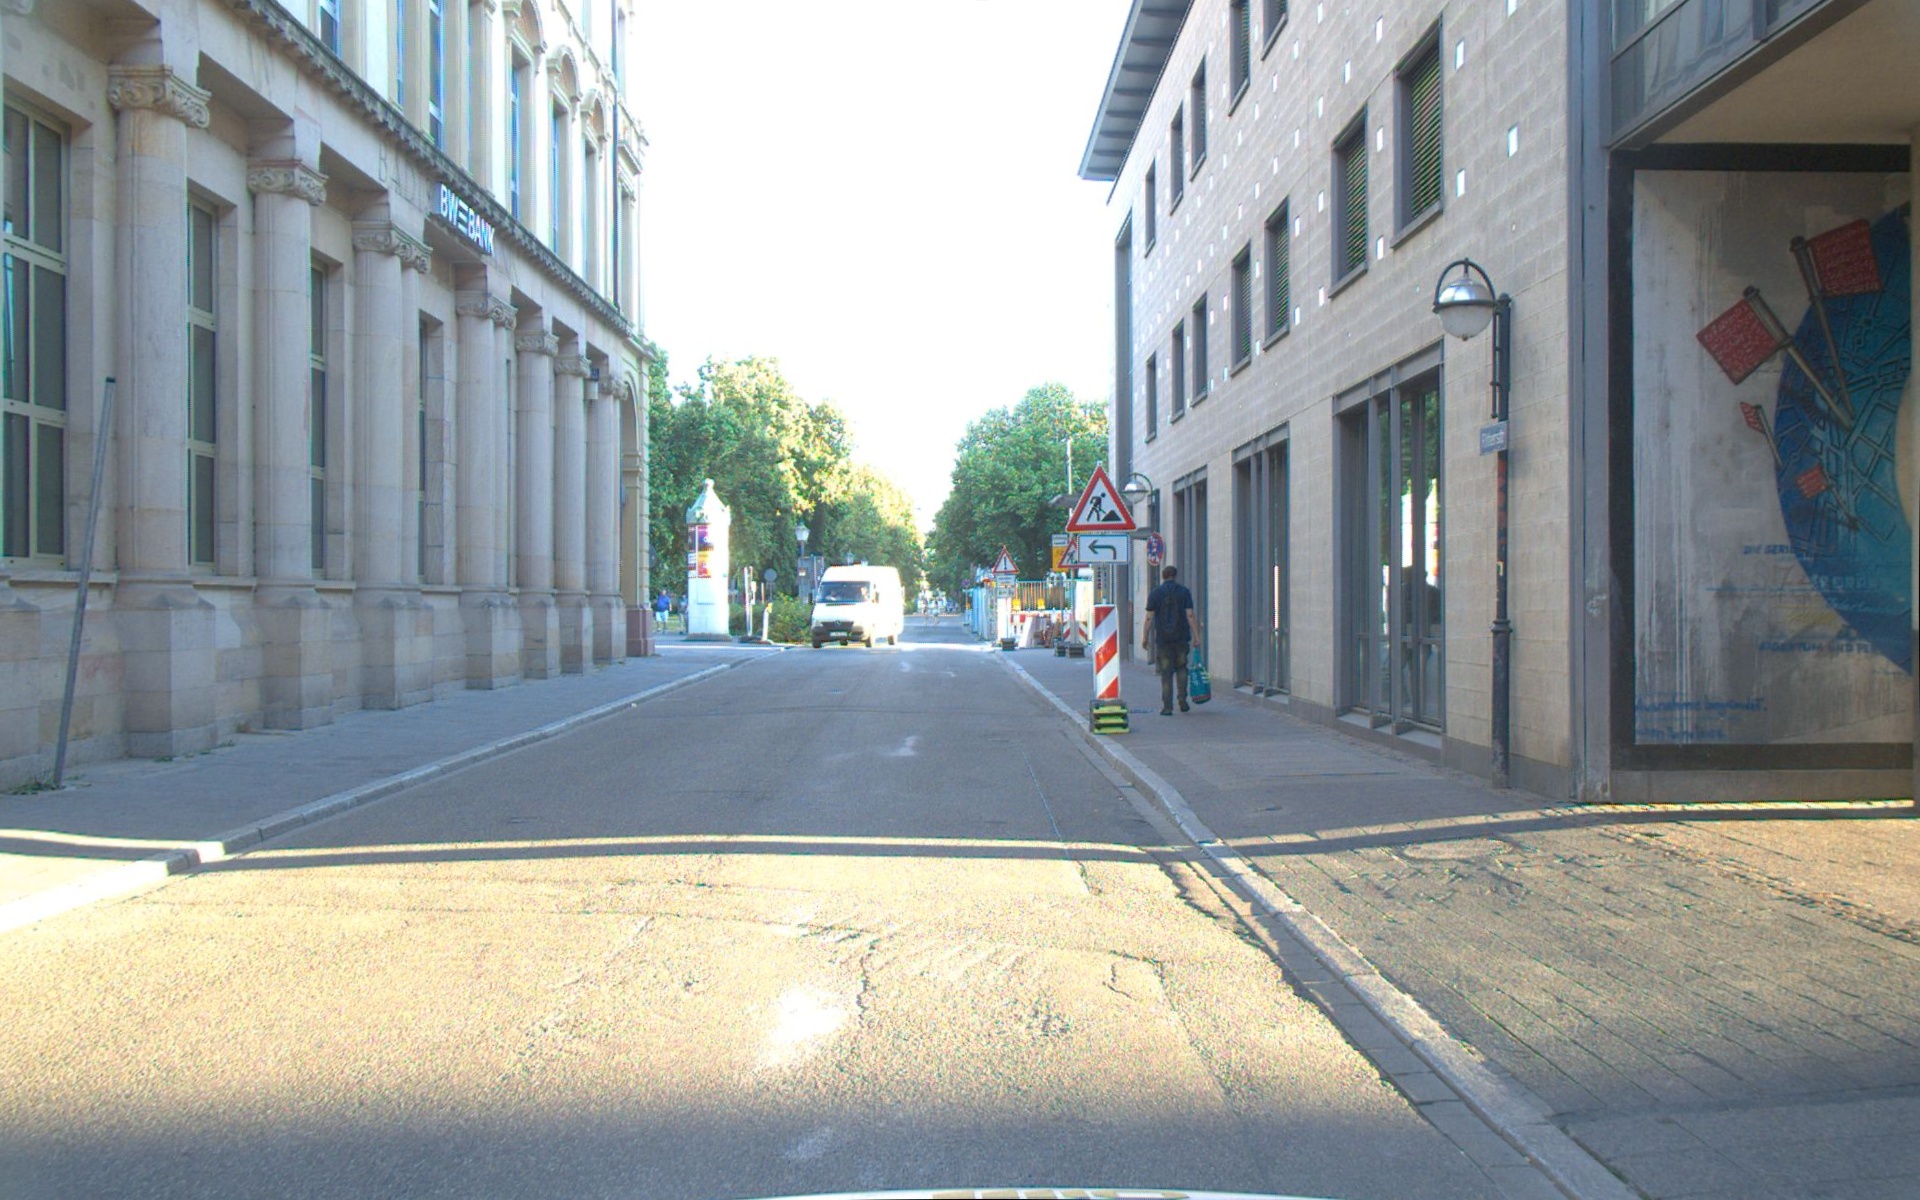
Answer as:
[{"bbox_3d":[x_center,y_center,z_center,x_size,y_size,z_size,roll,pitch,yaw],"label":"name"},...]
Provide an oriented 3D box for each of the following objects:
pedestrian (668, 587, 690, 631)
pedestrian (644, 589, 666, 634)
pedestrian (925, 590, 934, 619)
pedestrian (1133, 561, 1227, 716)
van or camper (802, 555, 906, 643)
[{"bbox_3d":[-11.757,0.371,69.150,0.835,1.839,0.661,0,0,-14],"label":"pedestrian"},{"bbox_3d":[-12.701,0.476,68.898,0.835,1.839,0.661,0,0,-14],"label":"pedestrian"},{"bbox_3d":[-2.185,0.334,117.491,0.570,2.049,0.680,0,0,-9],"label":"pedestrian"},{"bbox_3d":[2.691,0.468,20.332,0.980,1.835,0.881,-1,-1,-2],"label":"pedestrian"},{"bbox_3d":[-3.273,-0.044,52.473,2.172,2.630,6.377,0,0,7],"label":"van or camper"}]
